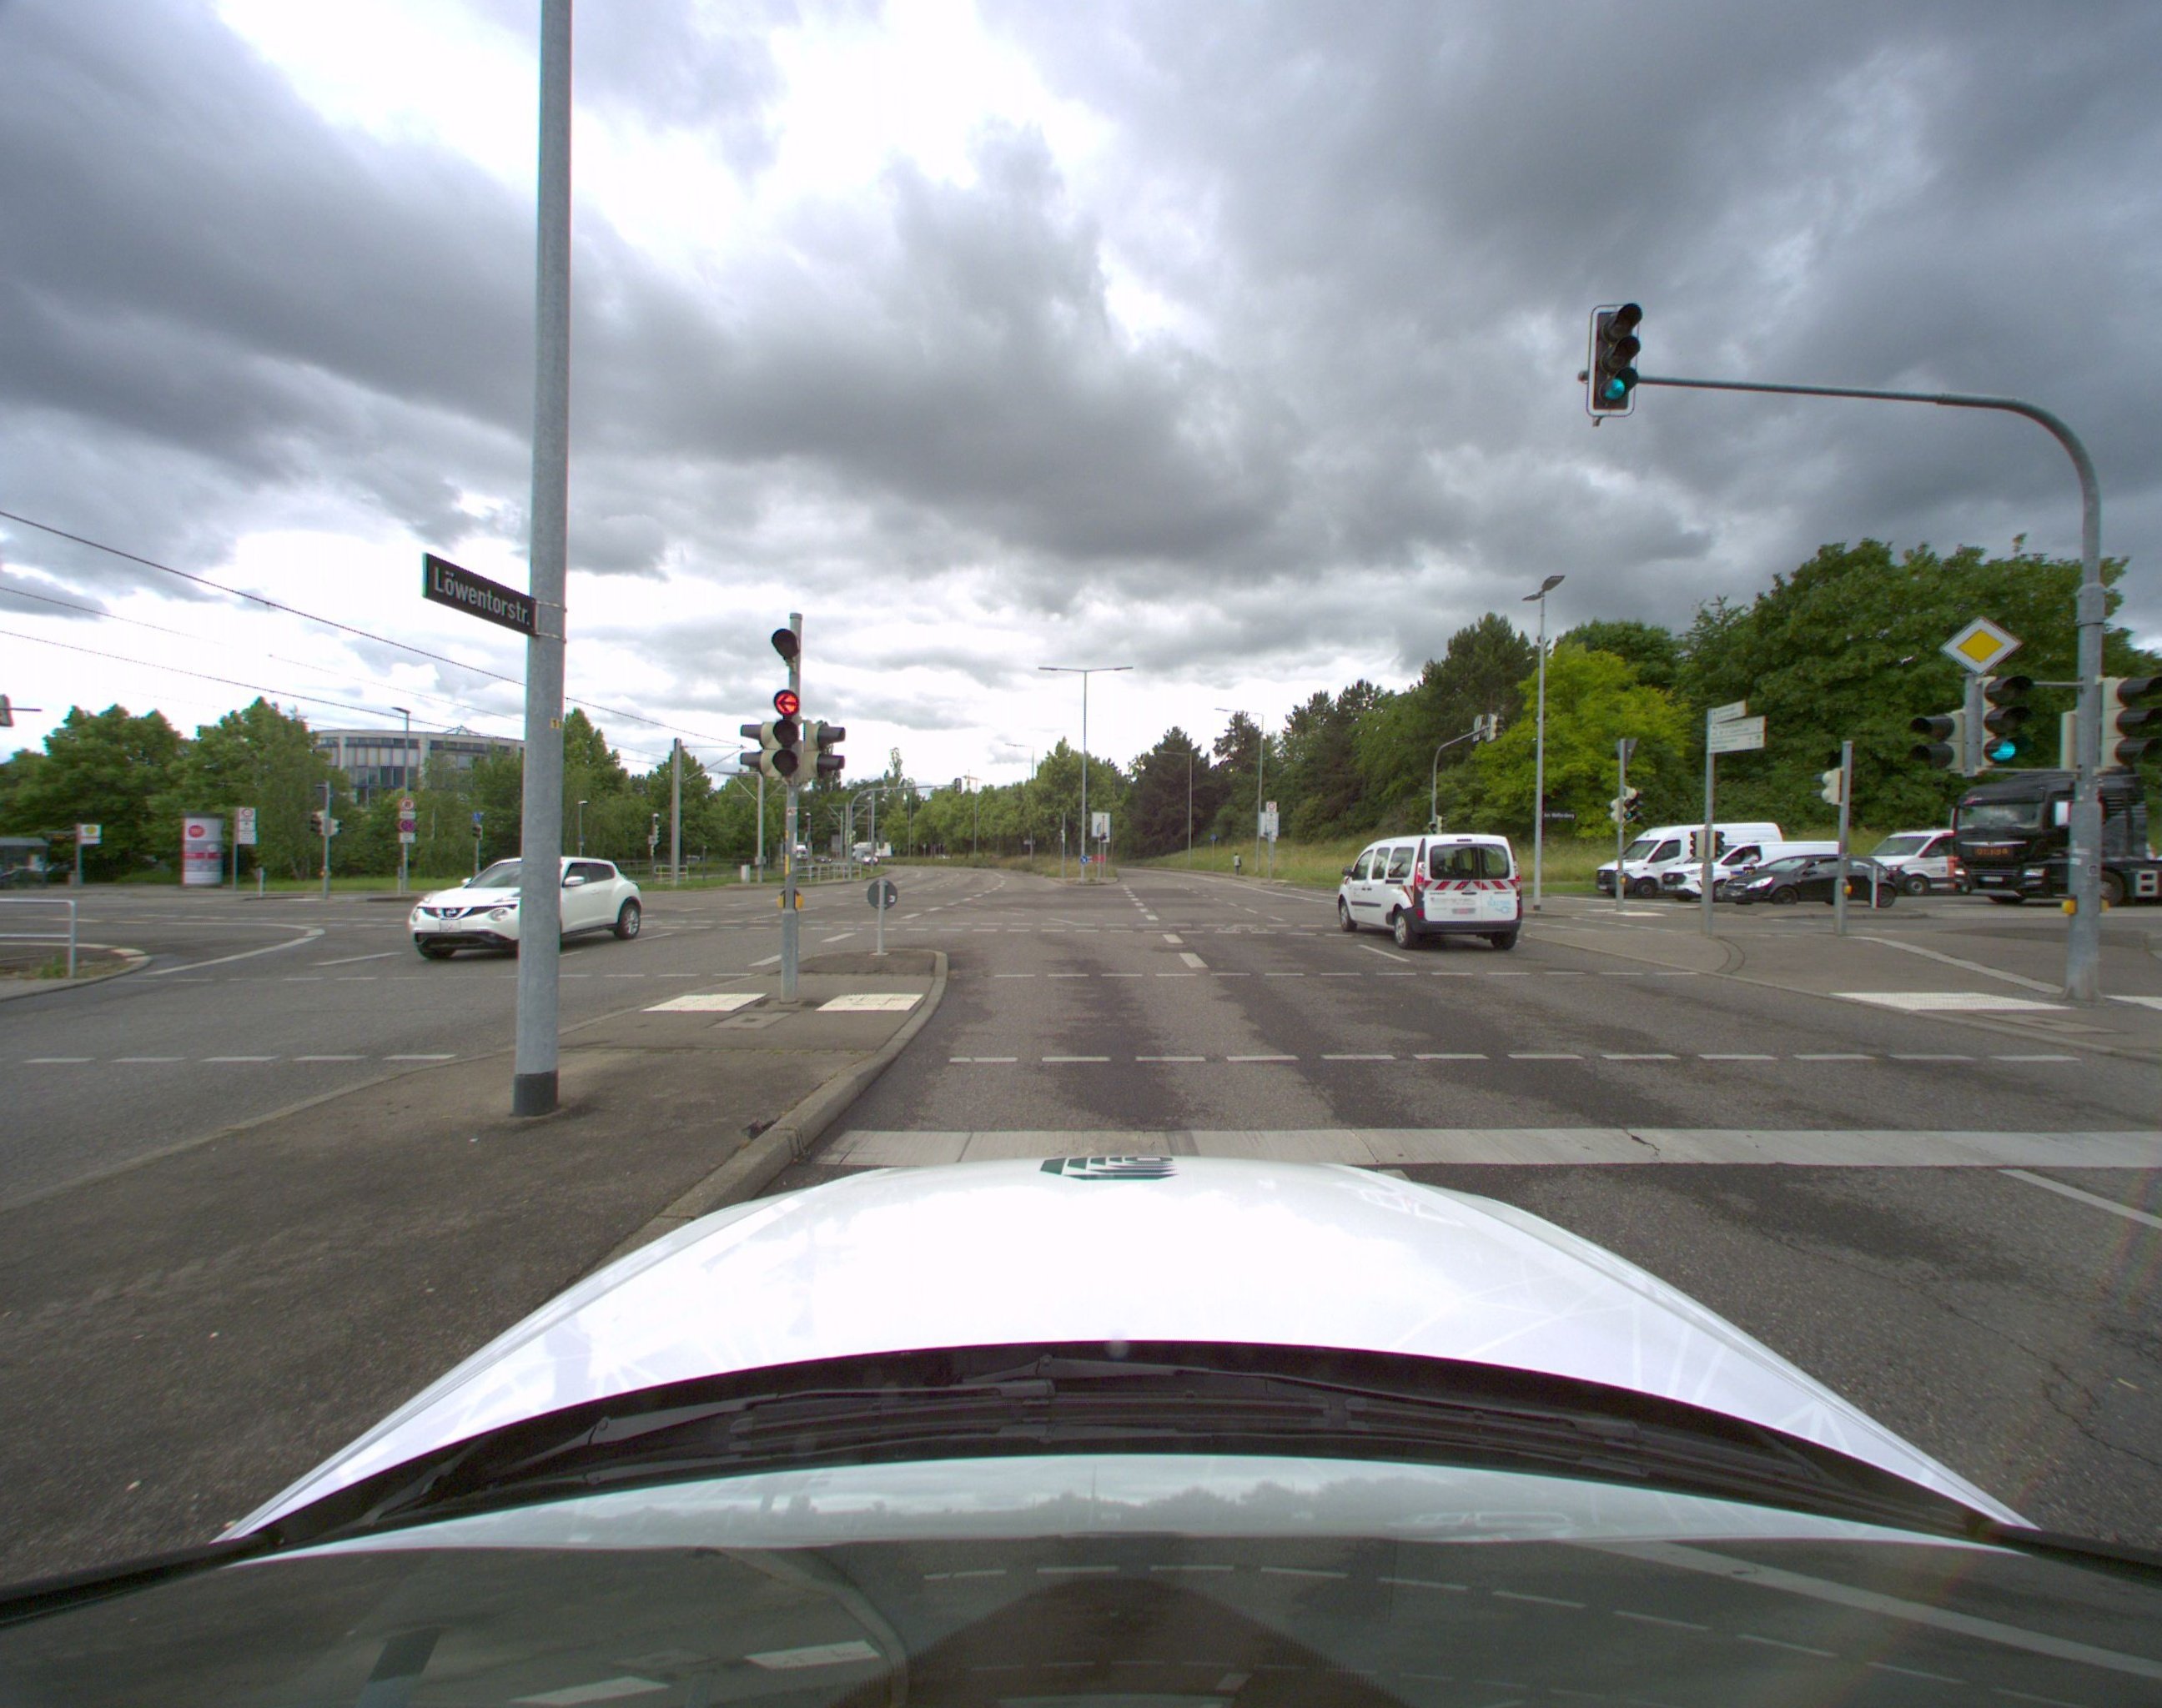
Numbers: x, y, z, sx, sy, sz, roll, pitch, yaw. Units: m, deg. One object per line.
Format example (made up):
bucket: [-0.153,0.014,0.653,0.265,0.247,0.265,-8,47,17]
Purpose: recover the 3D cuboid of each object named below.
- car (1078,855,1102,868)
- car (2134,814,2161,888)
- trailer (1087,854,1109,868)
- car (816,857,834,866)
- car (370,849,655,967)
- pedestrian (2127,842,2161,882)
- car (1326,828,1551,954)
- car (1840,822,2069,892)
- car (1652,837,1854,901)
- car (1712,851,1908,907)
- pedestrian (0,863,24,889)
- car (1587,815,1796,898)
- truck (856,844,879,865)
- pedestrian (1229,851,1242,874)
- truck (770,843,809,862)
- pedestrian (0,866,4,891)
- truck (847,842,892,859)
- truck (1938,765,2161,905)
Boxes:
car: [1.015,0.848,96.009,1.780,1.421,4.437,-1,0,-14]
car: [41.503,-0.162,28.433,6.473,2.609,2.197,-1,0,2]
trailer: [1.889,0.776,92.388,1.767,1.616,3.029,-1,0,-14]
car: [-46.191,1.419,146.963,1.794,1.446,4.479,-3,2,-36]
car: [-9.227,0.763,13.789,1.824,1.629,4.421,-1,0,-2]
pedestrian: [45.667,0.323,34.842,0.785,1.676,0.817,0,0,1]
car: [5.915,0.557,14.251,1.986,1.802,4.842,-1,-1,2]
car: [30.680,0.107,28.759,5.677,2.289,2.136,-1,0,2]
car: [21.588,0.455,26.325,4.836,1.896,2.034,-1,0,1]
car: [20.277,0.666,22.769,3.905,1.436,1.732,-1,0,1]
pedestrian: [-56.414,1.154,42.891,0.774,1.304,0.666,0,0,15]
car: [21.895,0.093,29.405,5.870,2.781,2.136,-1,0,2]
truck: [-33.777,0.114,128.557,2.128,3.135,5.845,0,-1,-29]
pedestrian: [11.326,0.623,59.700,0.811,1.627,0.791,0,0,1]
truck: [-58.956,-0.269,164.586,3.075,3.760,12.660,0,-1,-41]
pedestrian: [-57.735,1.294,43.101,0.774,1.303,0.666,0,0,15]
truck: [-41.744,-0.690,160.395,11.261,3.328,2.765,0,0,42]
truck: [27.931,-0.518,22.265,6.027,3.538,2.729,-1,0,2]
